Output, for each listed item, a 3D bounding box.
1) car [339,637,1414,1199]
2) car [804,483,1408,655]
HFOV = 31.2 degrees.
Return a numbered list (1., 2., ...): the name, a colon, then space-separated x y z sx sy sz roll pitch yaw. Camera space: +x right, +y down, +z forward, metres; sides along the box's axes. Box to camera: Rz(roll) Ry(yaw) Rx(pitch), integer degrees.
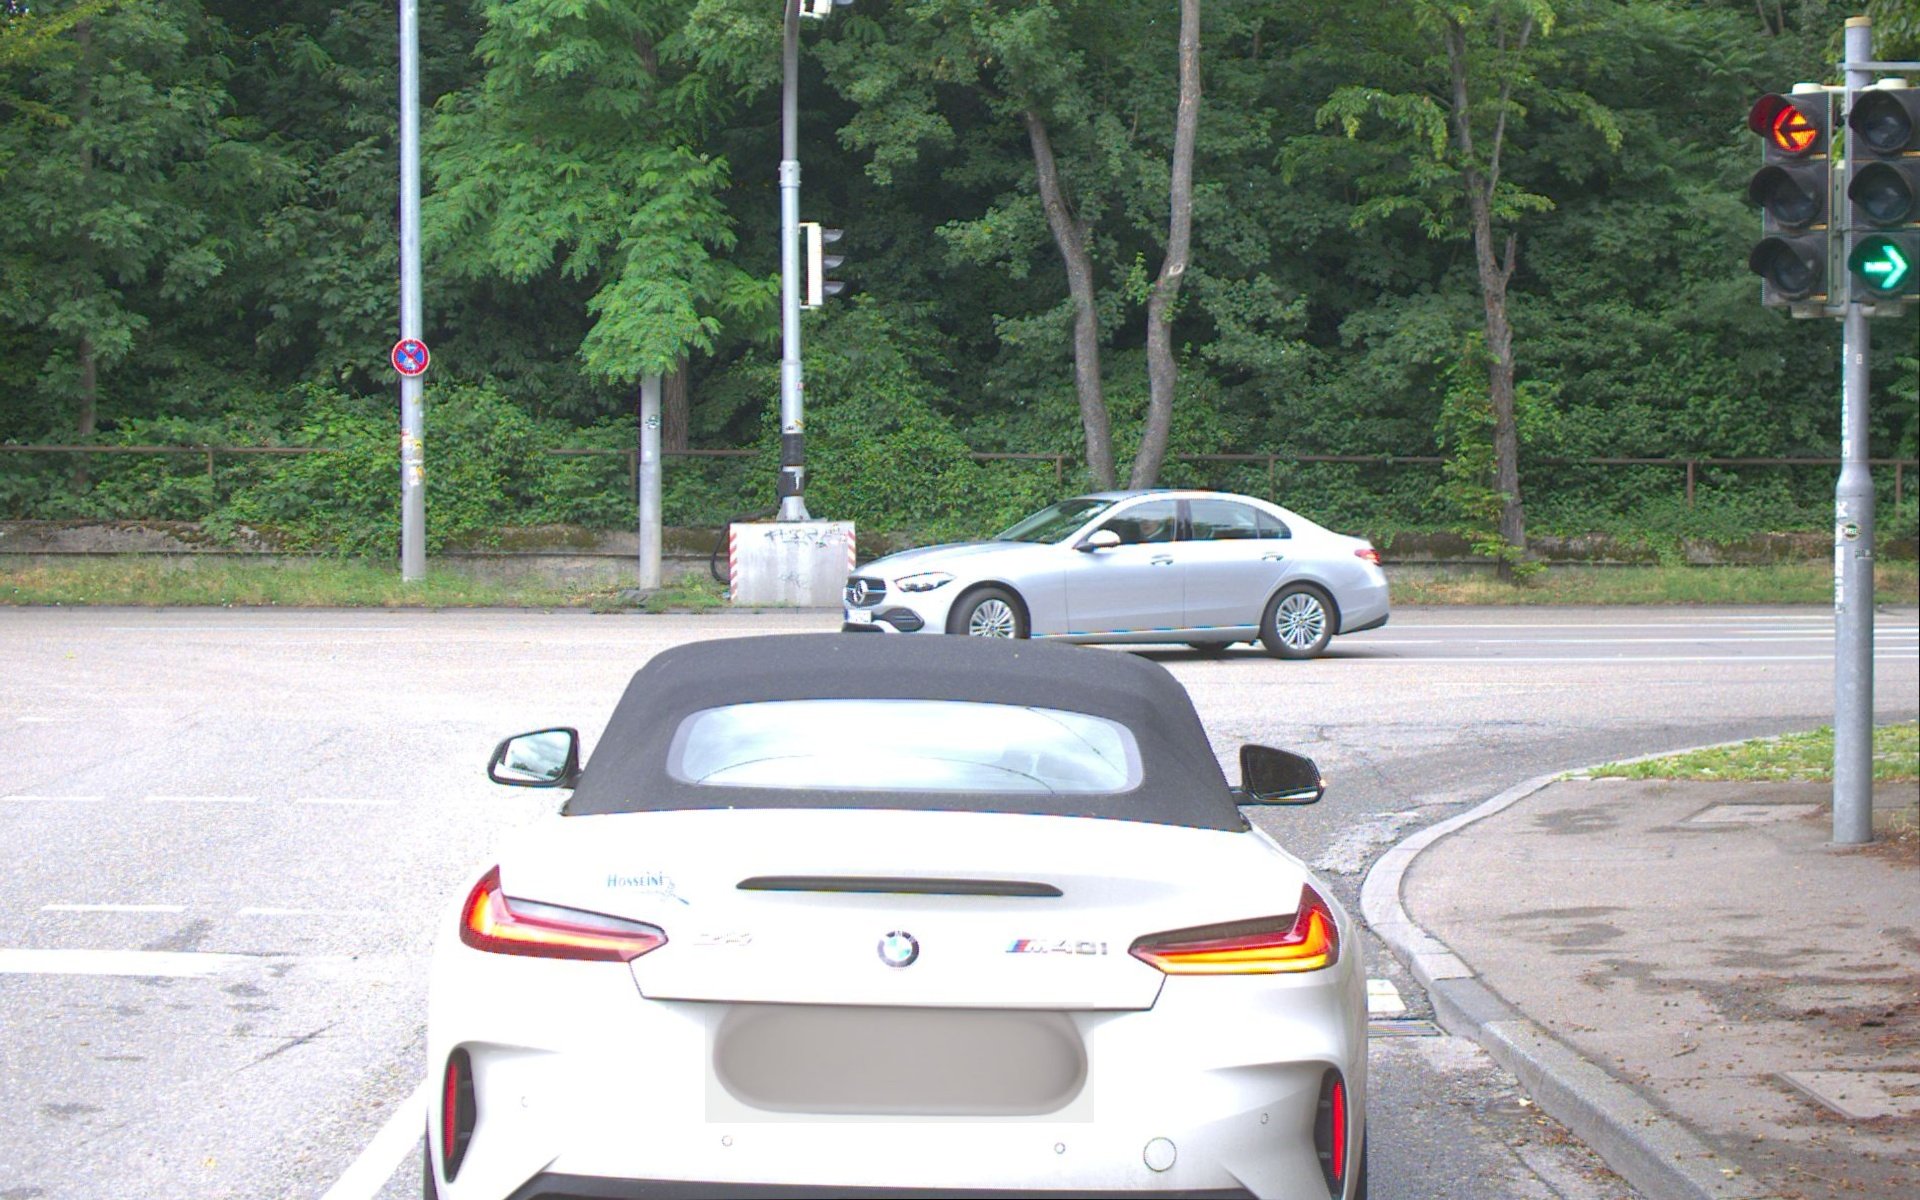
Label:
1. car: -0.234 0.739 7.909 1.827 1.253 4.000 1 -1 -3
2. car: 1.231 -0.299 29.072 4.750 1.329 1.834 -1 3 -21
